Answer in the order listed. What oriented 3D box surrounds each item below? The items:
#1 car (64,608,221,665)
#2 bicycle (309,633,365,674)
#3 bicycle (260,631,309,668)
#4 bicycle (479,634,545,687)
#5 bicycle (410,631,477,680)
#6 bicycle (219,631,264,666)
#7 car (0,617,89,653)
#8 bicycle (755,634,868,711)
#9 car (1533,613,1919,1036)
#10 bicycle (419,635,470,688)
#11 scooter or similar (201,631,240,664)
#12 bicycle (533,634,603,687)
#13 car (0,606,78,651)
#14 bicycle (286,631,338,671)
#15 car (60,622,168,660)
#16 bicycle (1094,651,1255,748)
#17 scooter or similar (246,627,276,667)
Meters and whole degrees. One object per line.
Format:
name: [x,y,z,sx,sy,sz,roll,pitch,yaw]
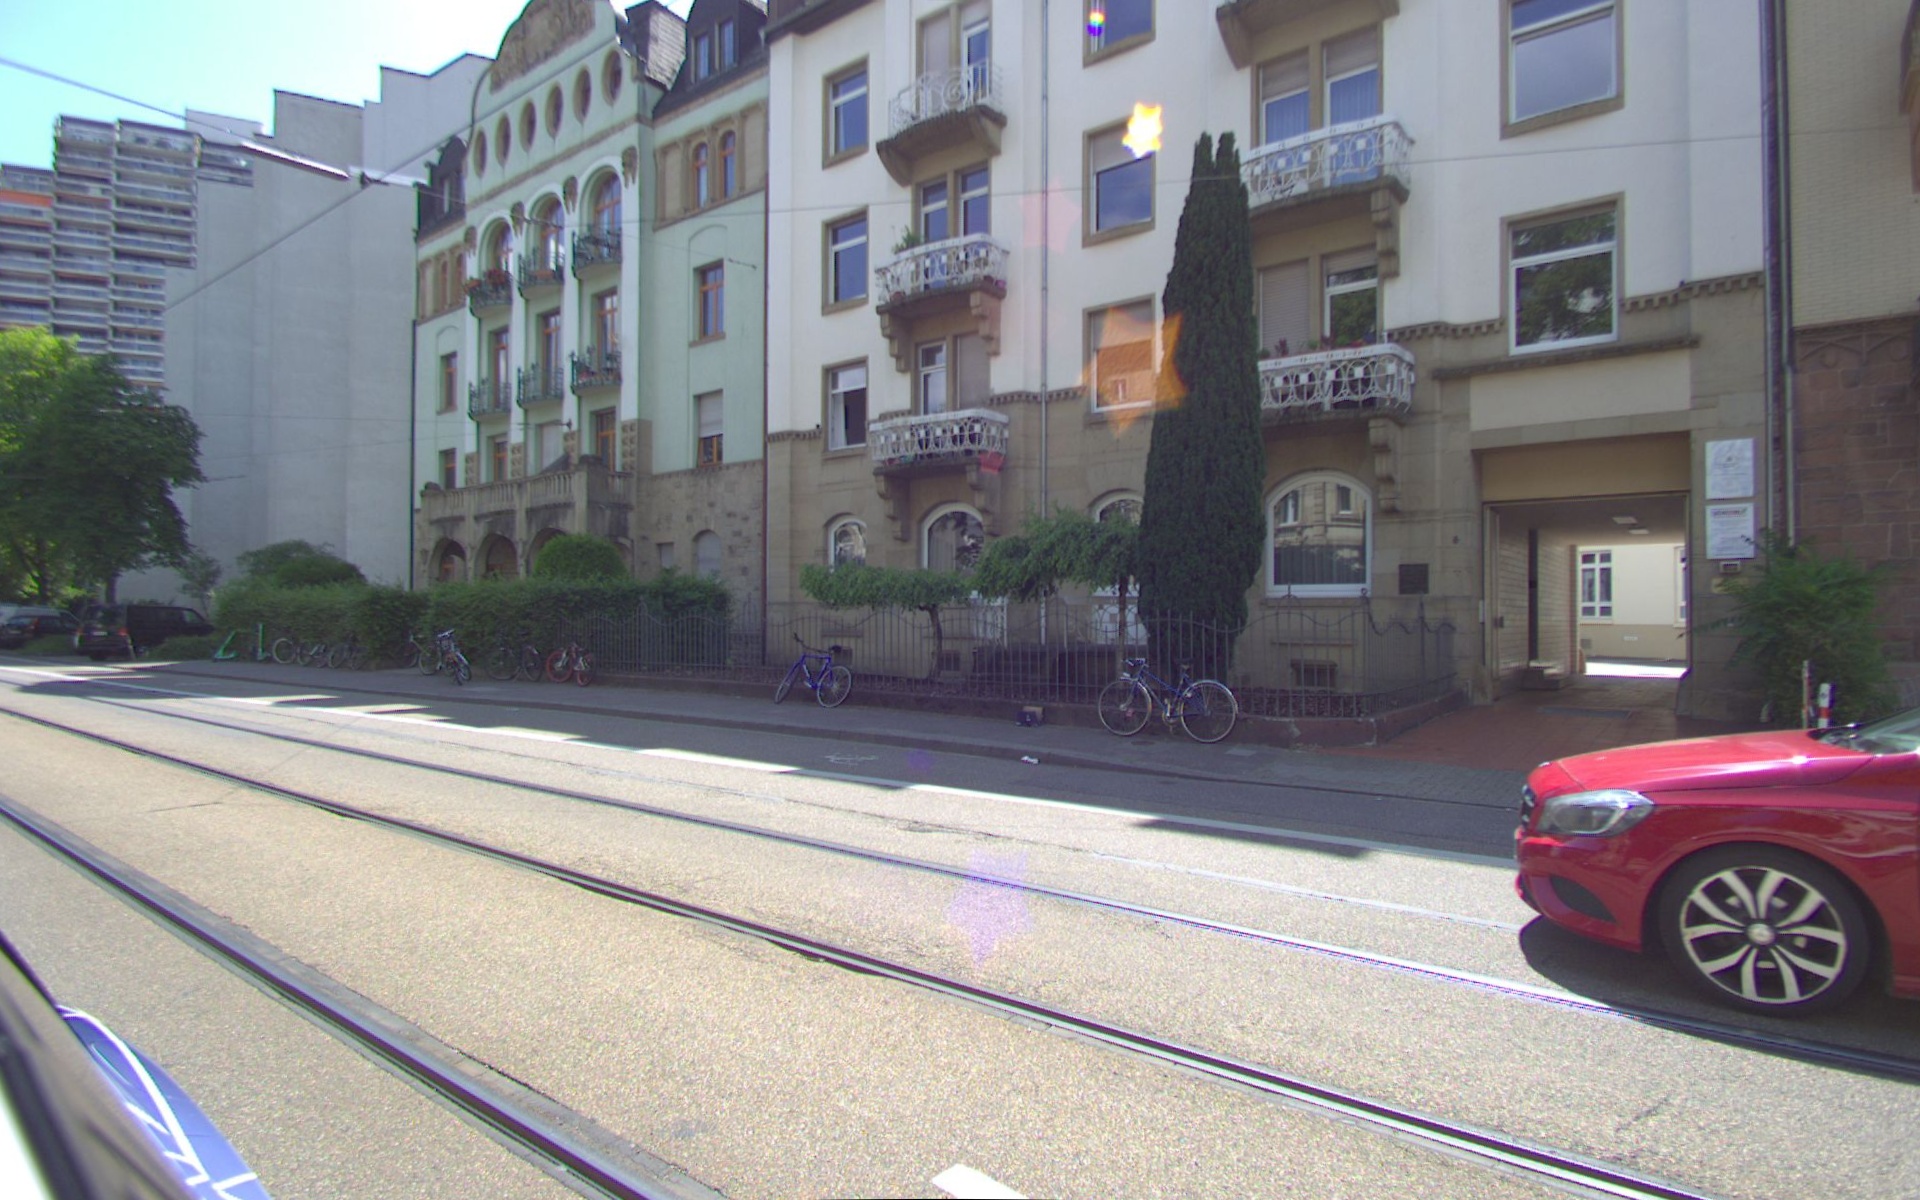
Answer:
car: [-29.341,1.284,36.525,1.935,1.940,4.585,0,-1,0]
bicycle: [-16.050,1.359,26.052,1.769,0.983,0.602,-1,2,38]
bicycle: [-19.040,1.381,28.524,1.705,0.996,0.602,-1,2,38]
bicycle: [-9.150,1.216,20.637,1.705,1.006,0.460,-1,2,38]
bicycle: [-11.636,1.230,22.774,1.769,1.040,0.602,-1,2,38]
bicycle: [-21.731,1.448,30.615,1.705,0.996,0.602,-1,2,38]
car: [-42.097,1.573,46.211,1.657,1.587,3.688,1,-1,-5]
bicycle: [-2.277,1.079,15.430,1.769,1.072,0.602,-1,2,38]
car: [4.631,0.785,3.548,4.419,1.424,1.807,-1,-3,35]
bicycle: [-10.394,1.214,20.447,0.599,1.007,1.780,0,-1,-17]
scooter or similar: [-23.106,1.479,31.606,1.216,1.028,0.404,-1,-2,22]
bicycle: [-7.628,1.157,19.664,1.723,0.973,0.409,-1,2,38]
car: [-44.790,1.362,48.499,1.579,2.058,4.055,0,-1,-3]
bicycle: [-17.483,1.367,27.289,1.705,0.996,0.602,-1,2,38]
car: [-34.153,1.636,40.961,1.699,1.465,3.634,0,-1,-8]
bicycle: [2.475,1.125,11.797,1.839,0.968,0.406,0,2,38]
scooter or similar: [-20.449,1.356,29.599,1.289,1.128,0.401,-1,-1,40]
